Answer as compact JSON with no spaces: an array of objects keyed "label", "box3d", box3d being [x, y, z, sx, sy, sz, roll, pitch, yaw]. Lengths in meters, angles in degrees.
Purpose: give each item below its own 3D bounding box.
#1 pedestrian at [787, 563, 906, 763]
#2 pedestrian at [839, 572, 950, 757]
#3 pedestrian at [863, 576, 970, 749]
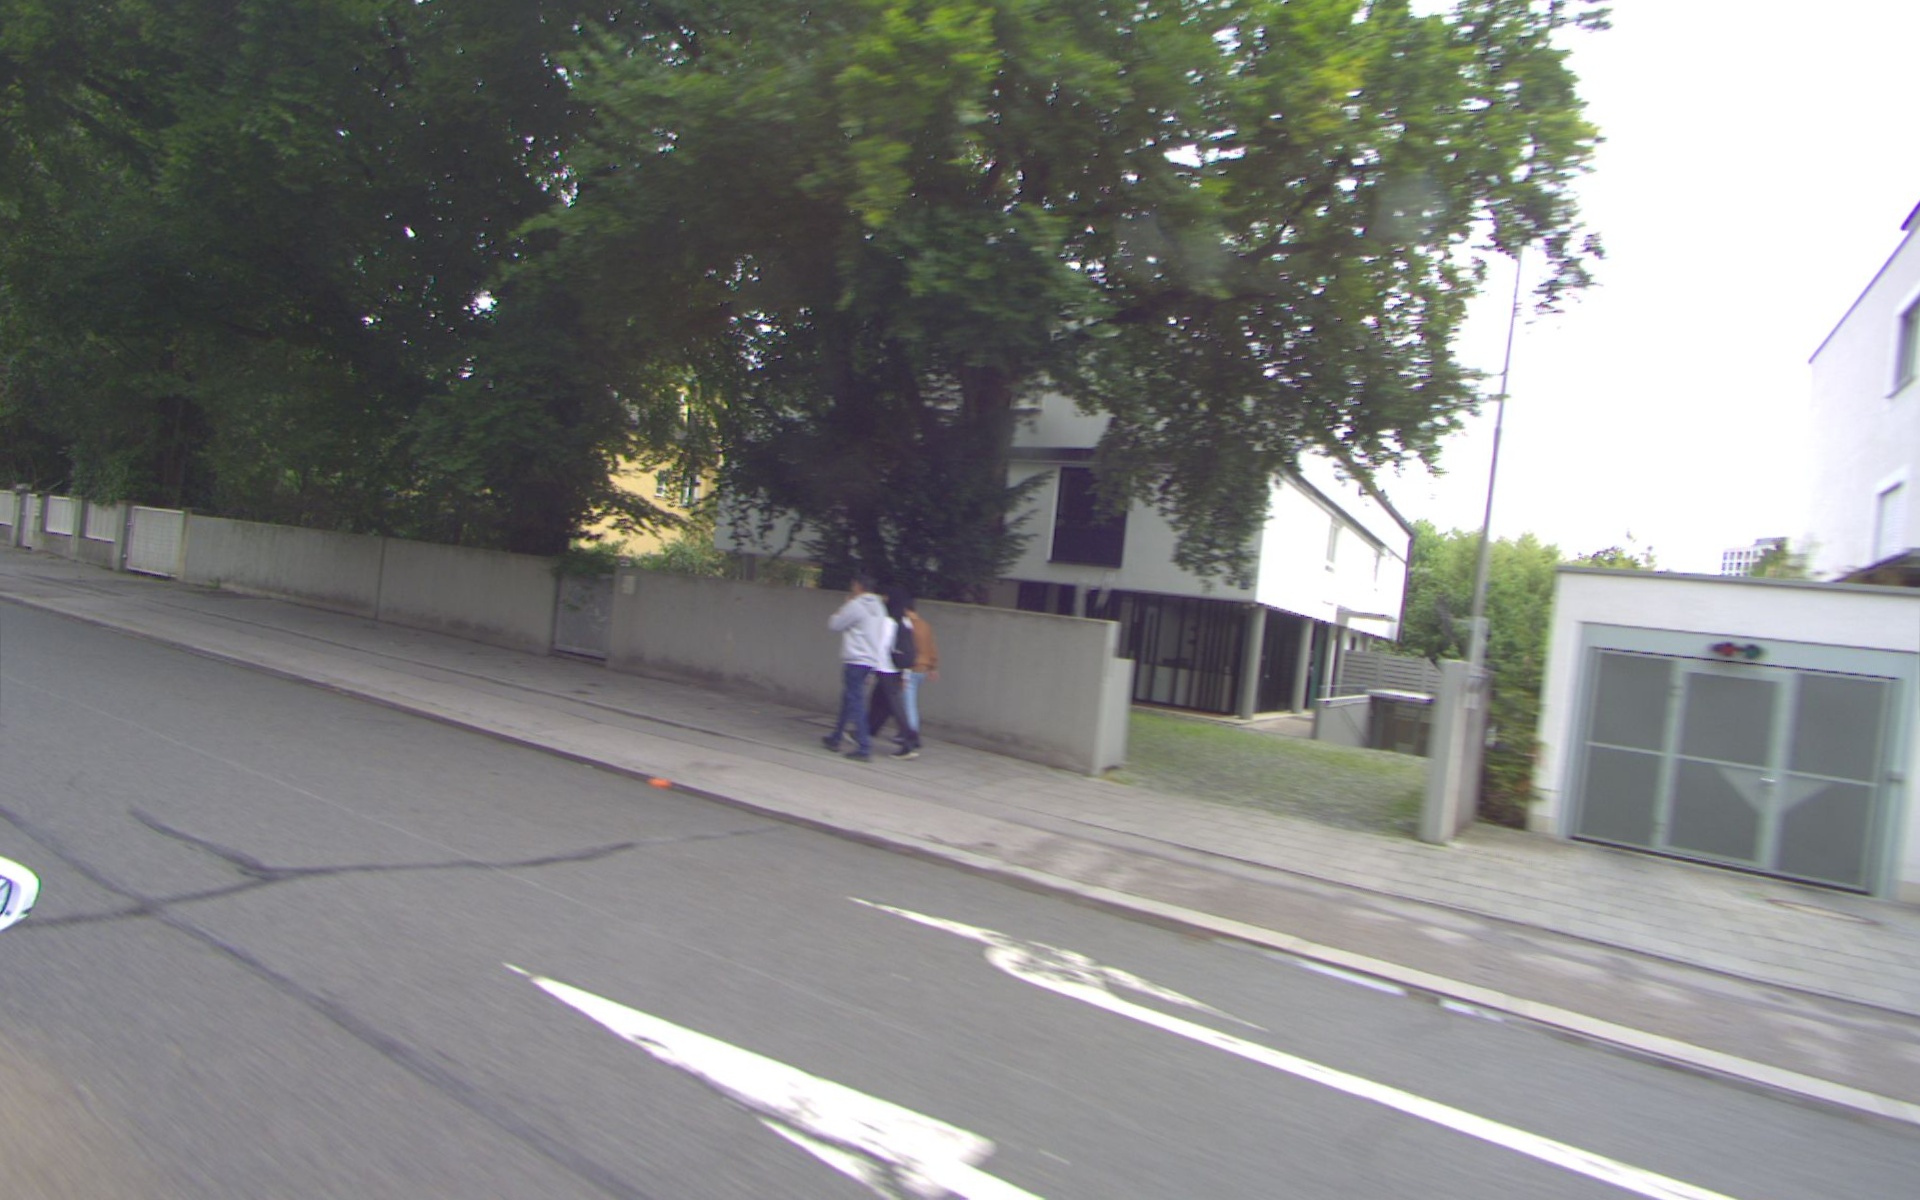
[{"label":"pedestrian","box3d":[-1.070,0.573,9.491,0.716,1.745,0.666,7,3,30]},{"label":"pedestrian","box3d":[-0.650,0.620,10.044,0.716,1.715,0.666,7,3,30]},{"label":"pedestrian","box3d":[-0.466,0.654,10.844,0.753,1.728,0.666,7,3,30]}]
